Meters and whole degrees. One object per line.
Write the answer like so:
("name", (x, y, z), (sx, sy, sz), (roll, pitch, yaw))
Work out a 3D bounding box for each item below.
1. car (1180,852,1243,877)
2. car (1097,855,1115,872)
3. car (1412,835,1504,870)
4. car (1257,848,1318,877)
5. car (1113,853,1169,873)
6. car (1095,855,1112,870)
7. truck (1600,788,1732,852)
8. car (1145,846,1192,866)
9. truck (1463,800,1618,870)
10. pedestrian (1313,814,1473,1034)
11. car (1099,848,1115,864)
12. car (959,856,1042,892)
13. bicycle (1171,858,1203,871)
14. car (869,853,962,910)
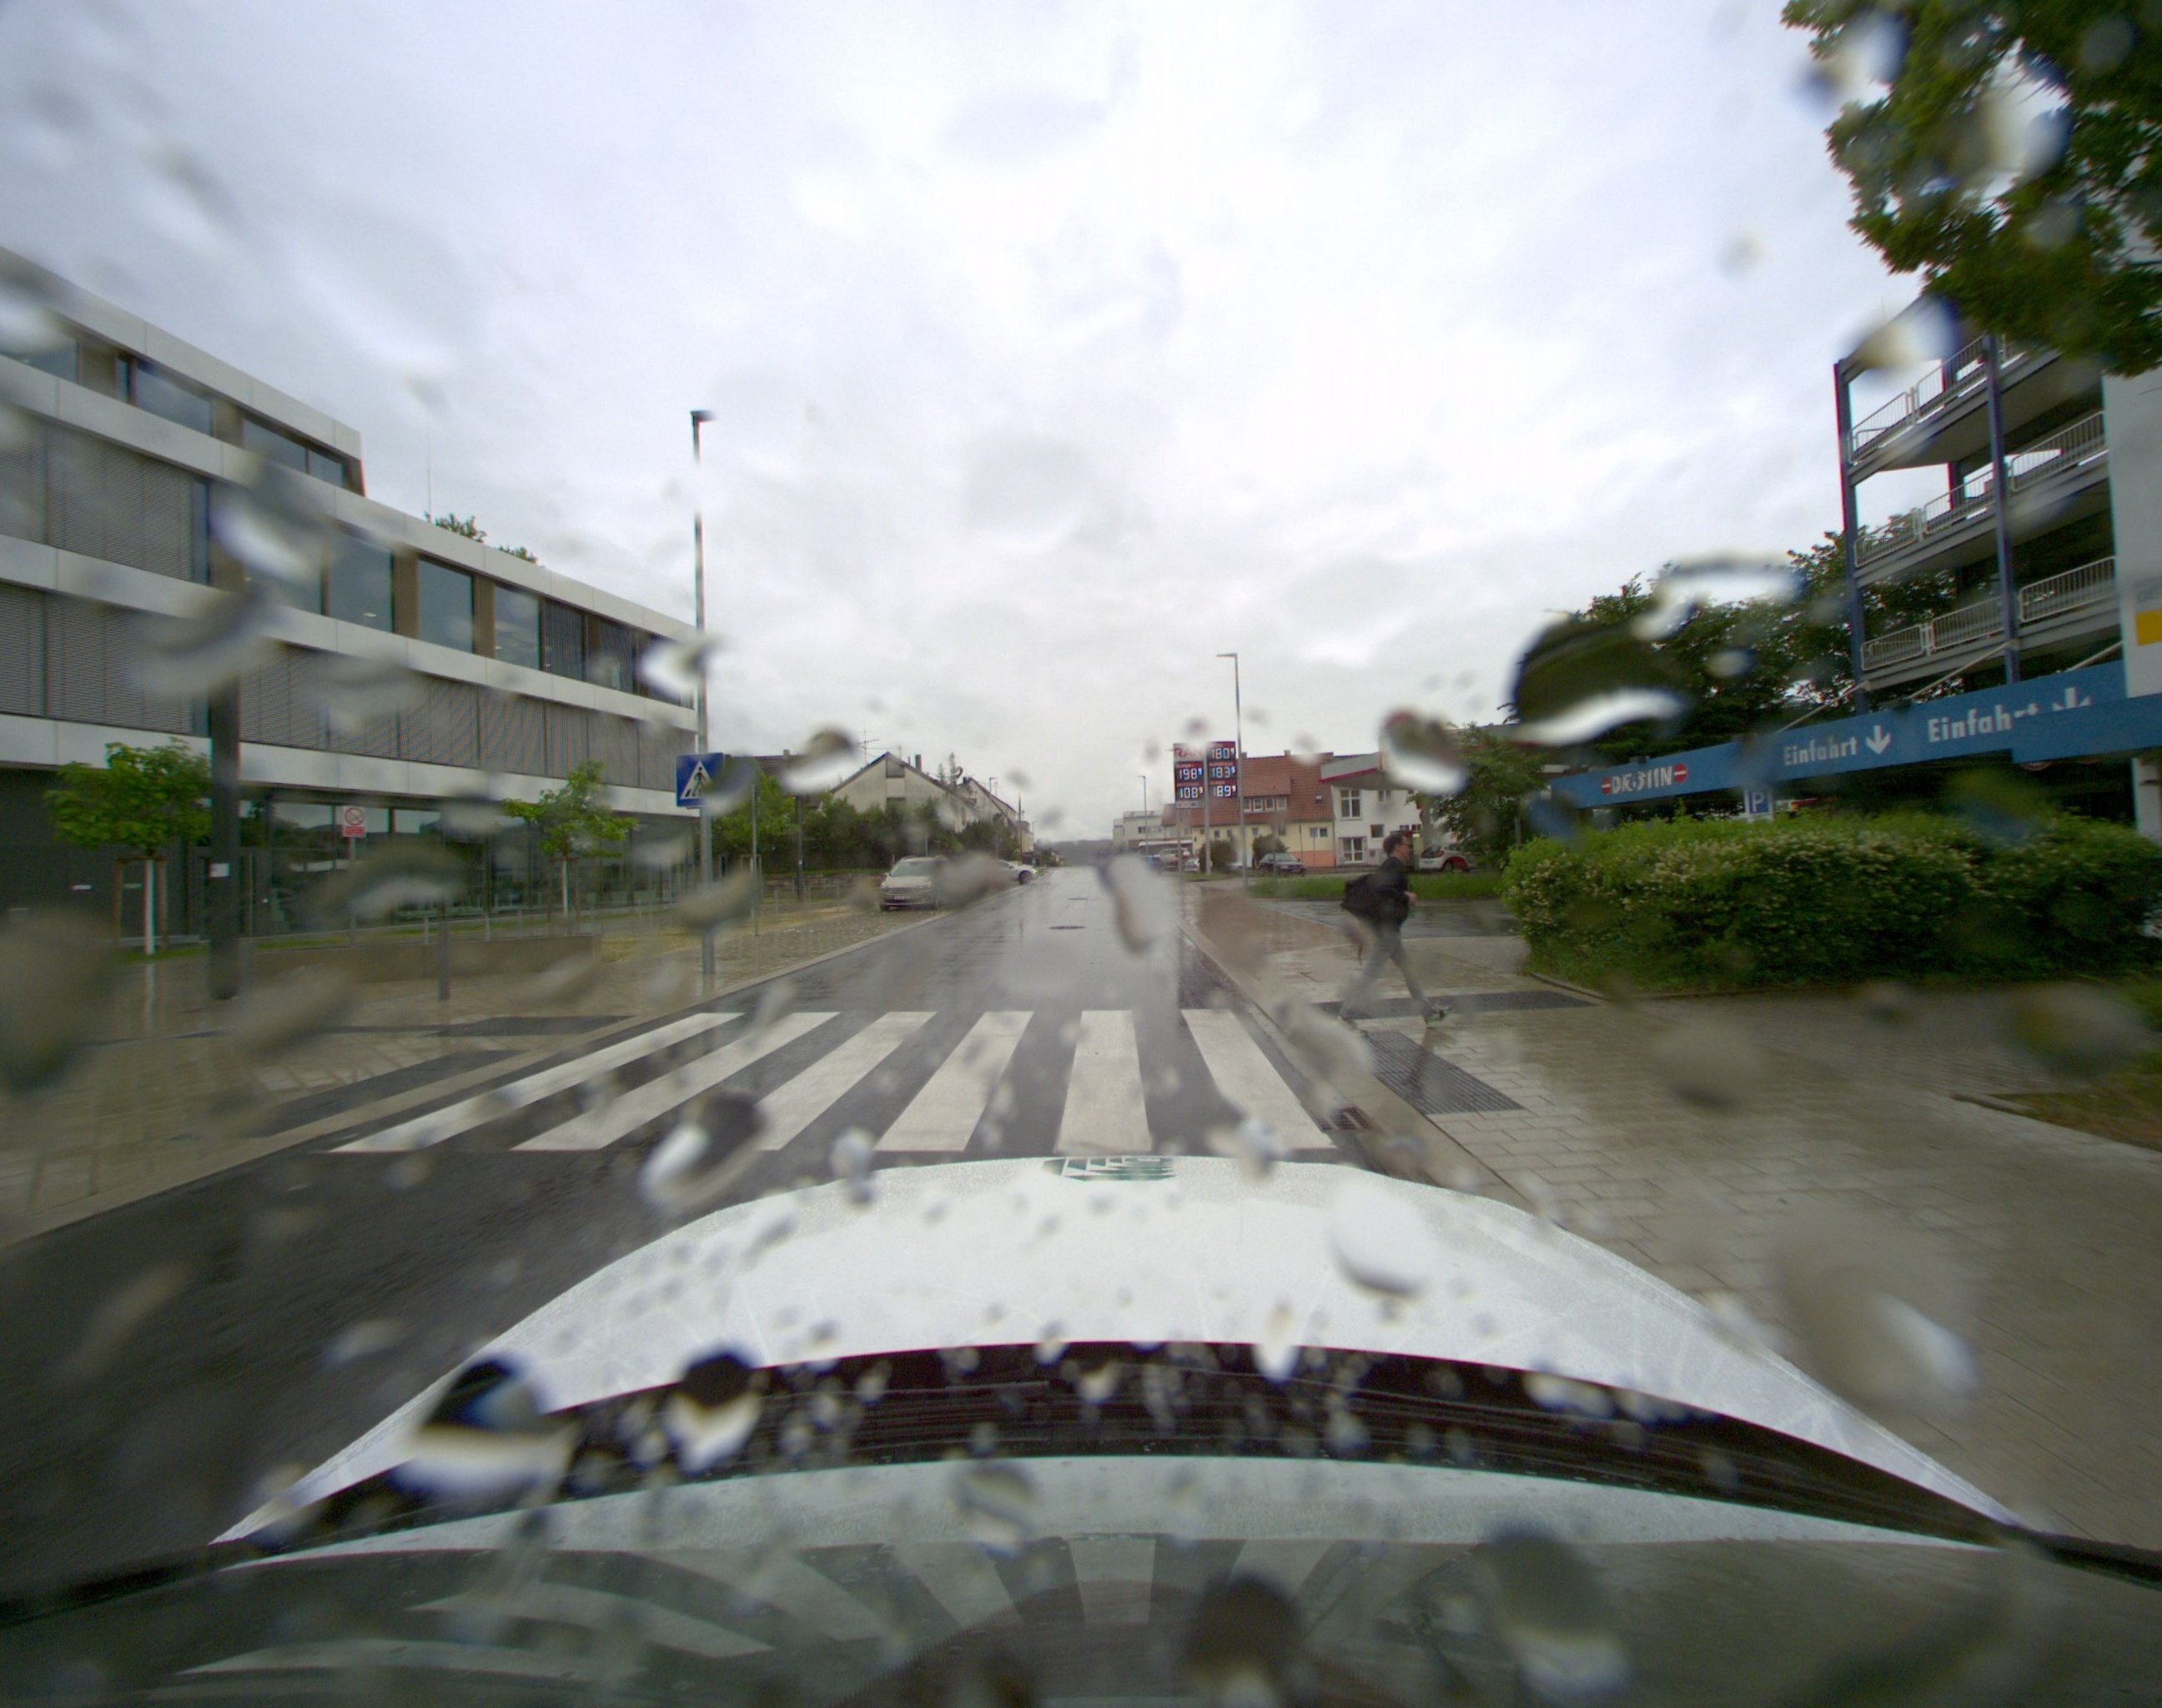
("car", (9.216, 0.787, 57.592), (4.007, 1.556, 1.937), (3, -3, -26))
("car", (2.836, 1.083, 91.680), (1.986, 1.706, 4.001), (2, -2, 2))
("car", (17.666, -0.057, 38.218), (3.525, 1.556, 1.942), (0, -2, -18))
("car", (12.011, 0.526, 47.672), (1.993, 1.552, 3.986), (2, -2, -9))
("car", (4.758, 0.701, 64.363), (3.948, 1.494, 1.869), (0, -3, 33))
("car", (2.906, 1.084, 104.503), (1.986, 1.706, 4.001), (2, -2, 2))
("truck", (21.995, -1.204, 30.839), (1.989, 2.014, 3.994), (2, -2, -4))
("car", (8.132, 0.220, 75.749), (4.100, 1.706, 1.787), (2, -2, -1))
("truck", (25.441, -0.960, 45.137), (7.729, 3.445, 2.667), (2, -3, -14))
("pedestrian", (2.590, 0.557, 6.856), (1.010, 1.724, 0.772), (-1, -1, -1))
("car", (3.143, 0.212, 98.448), (1.776, 1.706, 4.001), (2, -2, 2))
("car", (-4.900, 1.231, 49.396), (4.757, 2.014, 1.991), (2, -3, -13))
("bicycle", (9.001, 0.919, 69.089), (0.672, 1.067, 3.594), (3, -3, -29))
("car", (-5.232, 0.839, 26.319), (1.986, 1.629, 4.155), (-2, 0, 2))
